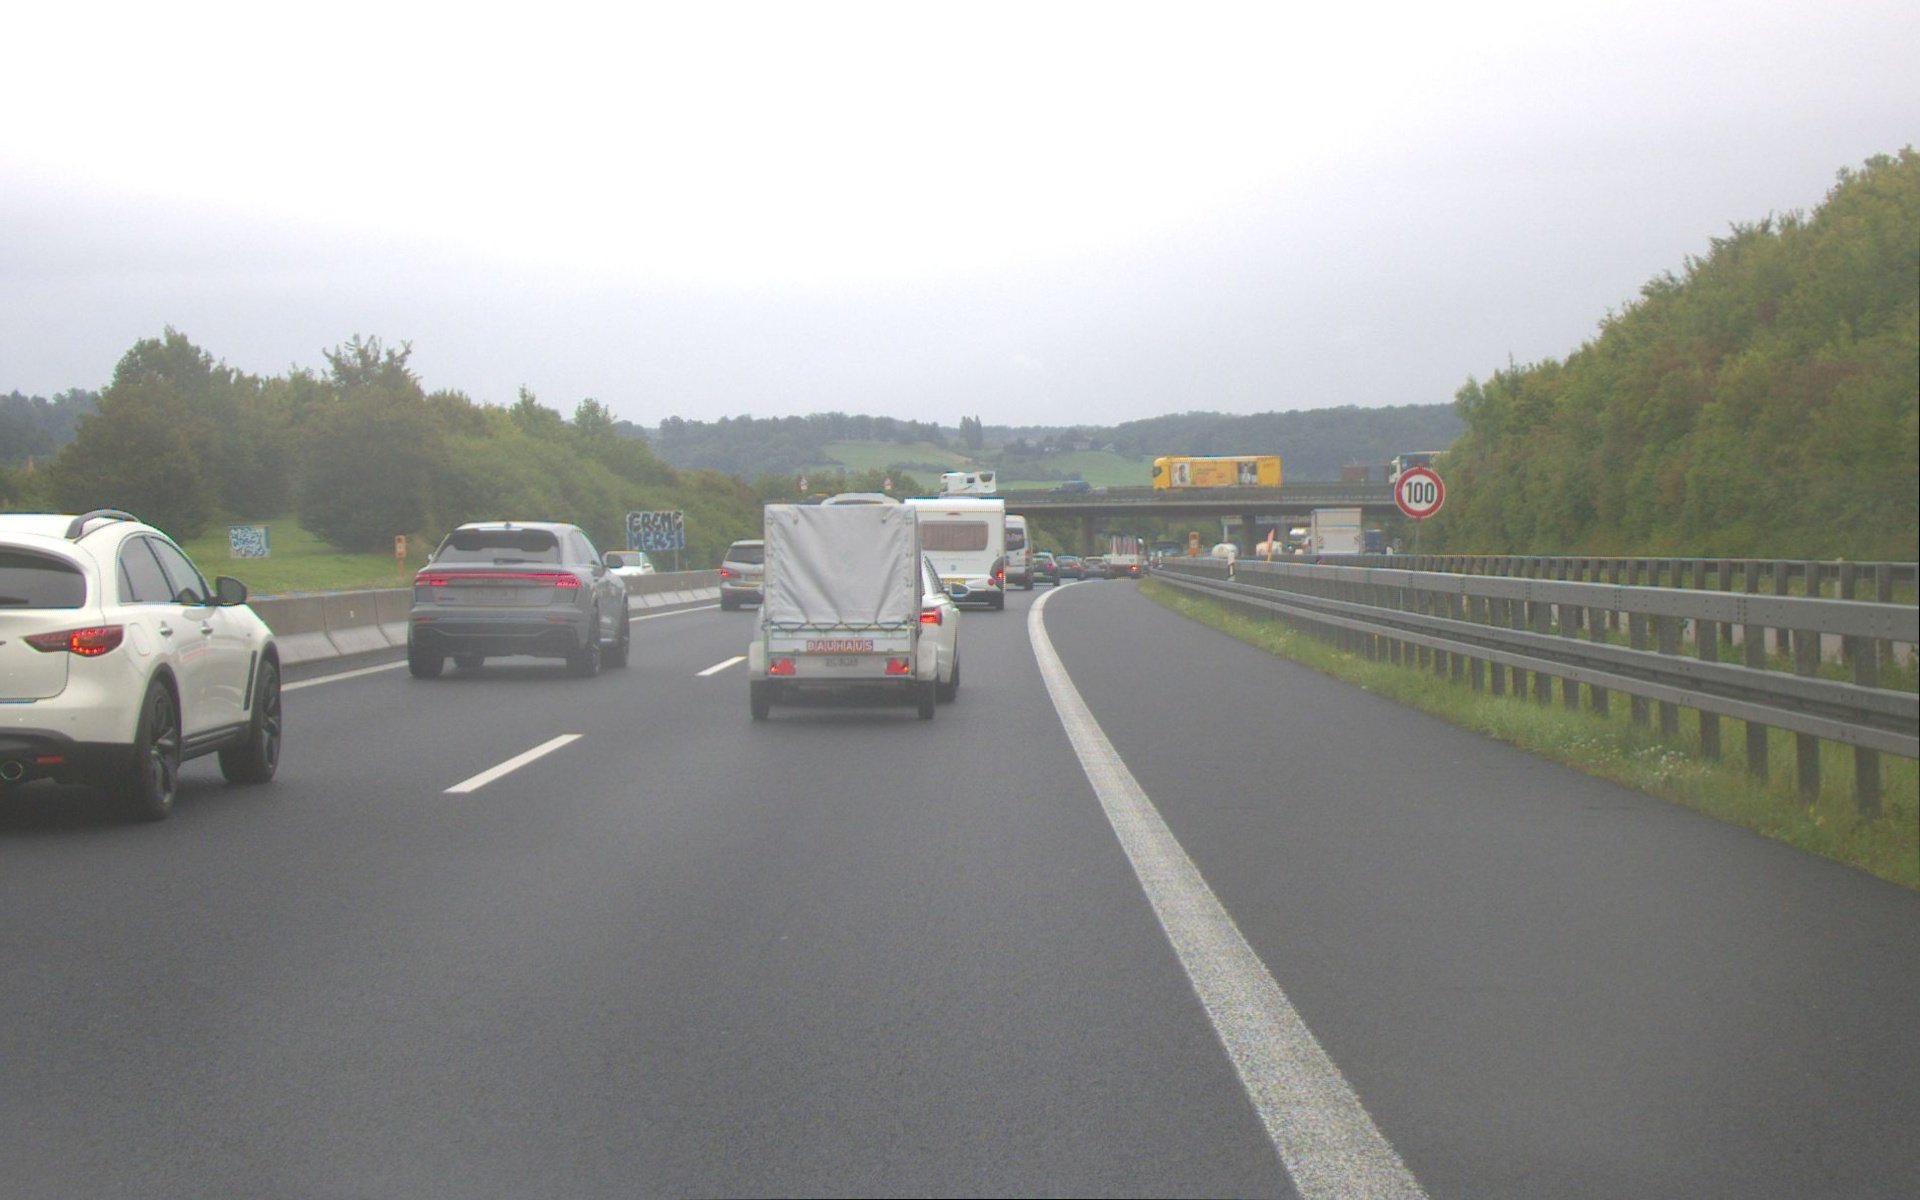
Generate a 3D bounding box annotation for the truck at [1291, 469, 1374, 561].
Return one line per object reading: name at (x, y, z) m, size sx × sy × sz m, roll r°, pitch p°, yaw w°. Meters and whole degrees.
truck at (21.131, -4.801, 195.551) m, size 4.094 × 5.086 × 10.463 m, roll 0°, pitch 1°, yaw 3°

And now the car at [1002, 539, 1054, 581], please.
car at (2.856, -1.696, 145.022) m, size 1.993 × 1.744 × 4.000 m, roll 1°, pitch 1°, yaw -1°

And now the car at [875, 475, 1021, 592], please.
car at (-0.211, -1.549, 79.954) m, size 3.017 × 2.607 × 6.074 m, roll 0°, pitch 1°, yaw 3°

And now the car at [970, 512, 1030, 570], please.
car at (1.423, -2.120, 123.539) m, size 1.993 × 2.029 × 4.152 m, roll 1°, pitch 1°, yaw -1°

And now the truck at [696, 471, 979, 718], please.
truck at (-0.968, -0.114, 31.198) m, size 2.019 × 1.979 × 7.212 m, roll 0°, pitch 1°, yaw 2°

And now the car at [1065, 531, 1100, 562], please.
car at (7.175, -3.116, 201.315) m, size 1.994 × 1.744 × 4.000 m, roll 1°, pitch 1°, yaw 3°

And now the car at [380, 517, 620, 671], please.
car at (-5.093, -0.099, 38.688) m, size 2.174 × 1.626 × 4.501 m, roll 0°, pitch 1°, yaw -1°

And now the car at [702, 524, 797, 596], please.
car at (-4.778, -0.928, 78.612) m, size 1.900 × 1.607 × 4.017 m, roll 0°, pitch 1°, yaw 0°

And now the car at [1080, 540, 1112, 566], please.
car at (9.264, -3.180, 233.931) m, size 1.994 × 1.744 × 4.000 m, roll 1°, pitch 1°, yaw 4°

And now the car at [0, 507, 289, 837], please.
car at (-5.154, 0.323, 19.282) m, size 1.976 × 1.633 × 4.501 m, roll 0°, pitch 1°, yaw -1°
